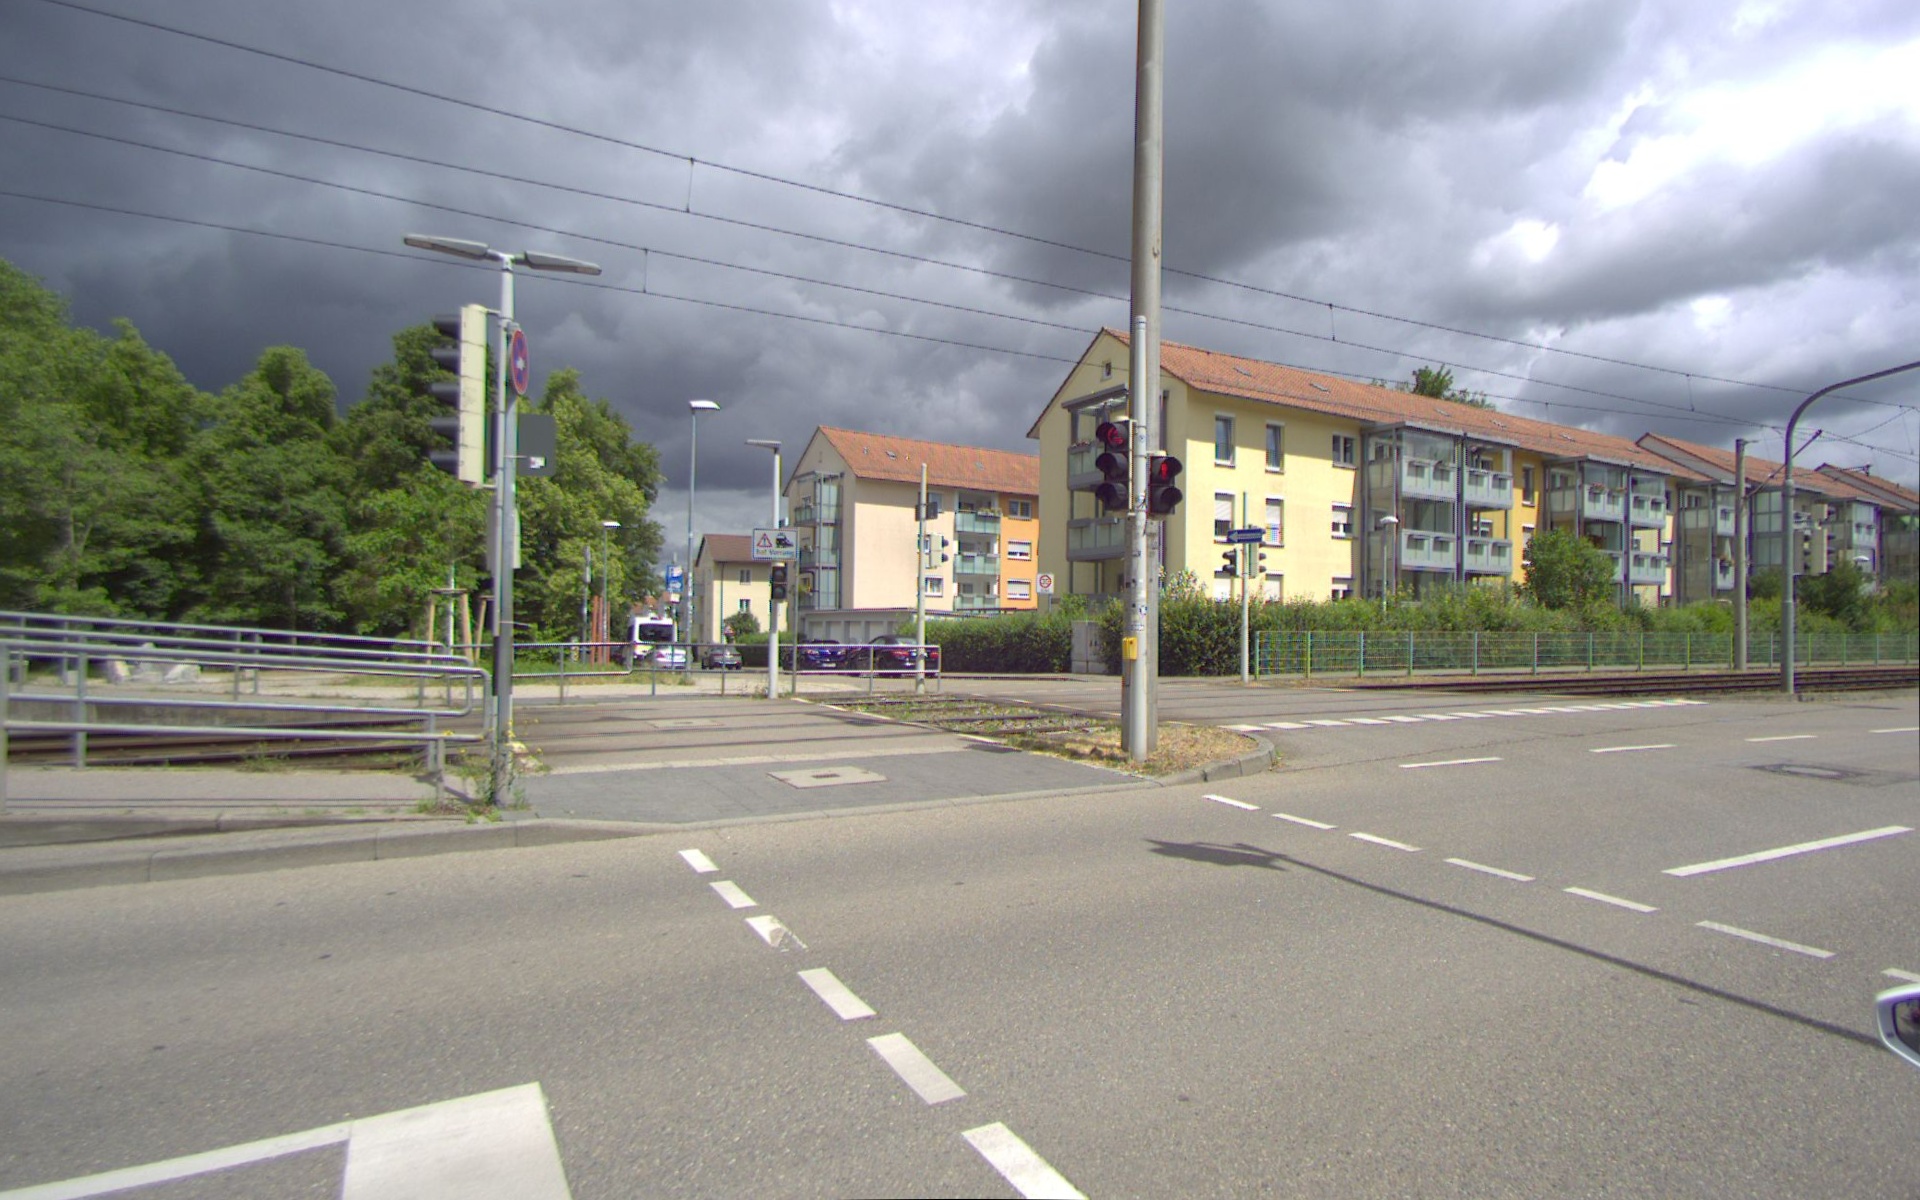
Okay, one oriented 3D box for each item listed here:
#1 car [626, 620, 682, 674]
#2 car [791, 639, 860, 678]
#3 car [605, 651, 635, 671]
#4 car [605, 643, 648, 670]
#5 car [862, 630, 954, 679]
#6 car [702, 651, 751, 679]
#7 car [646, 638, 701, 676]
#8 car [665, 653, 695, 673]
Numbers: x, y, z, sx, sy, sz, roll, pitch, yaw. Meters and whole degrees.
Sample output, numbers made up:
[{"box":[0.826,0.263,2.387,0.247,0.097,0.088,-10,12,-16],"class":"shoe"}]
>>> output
[{"box":[-14.457,2.253,47.332,1.973,2.387,3.977,2,-5,-25],"class":"car"},{"box":[-5.509,2.413,40.689,1.970,1.485,3.984,1,-5,-20],"class":"car"},{"box":[-28.056,5.046,82.790,1.972,1.485,3.980,2,-5,-23],"class":"car"},{"box":[-19.616,3.365,58.984,1.973,1.485,3.977,2,-5,-25],"class":"car"},{"box":[-1.793,1.854,33.204,1.970,1.485,3.984,1,-5,-20],"class":"car"},{"box":[-13.514,3.783,58.069,1.973,1.485,3.977,2,-5,-25],"class":"car"},{"box":[-12.310,2.481,43.036,1.970,1.485,3.984,1,-5,-20],"class":"car"},{"box":[-22.832,5.142,81.717,1.970,1.485,3.983,1,-5,-21],"class":"car"}]
